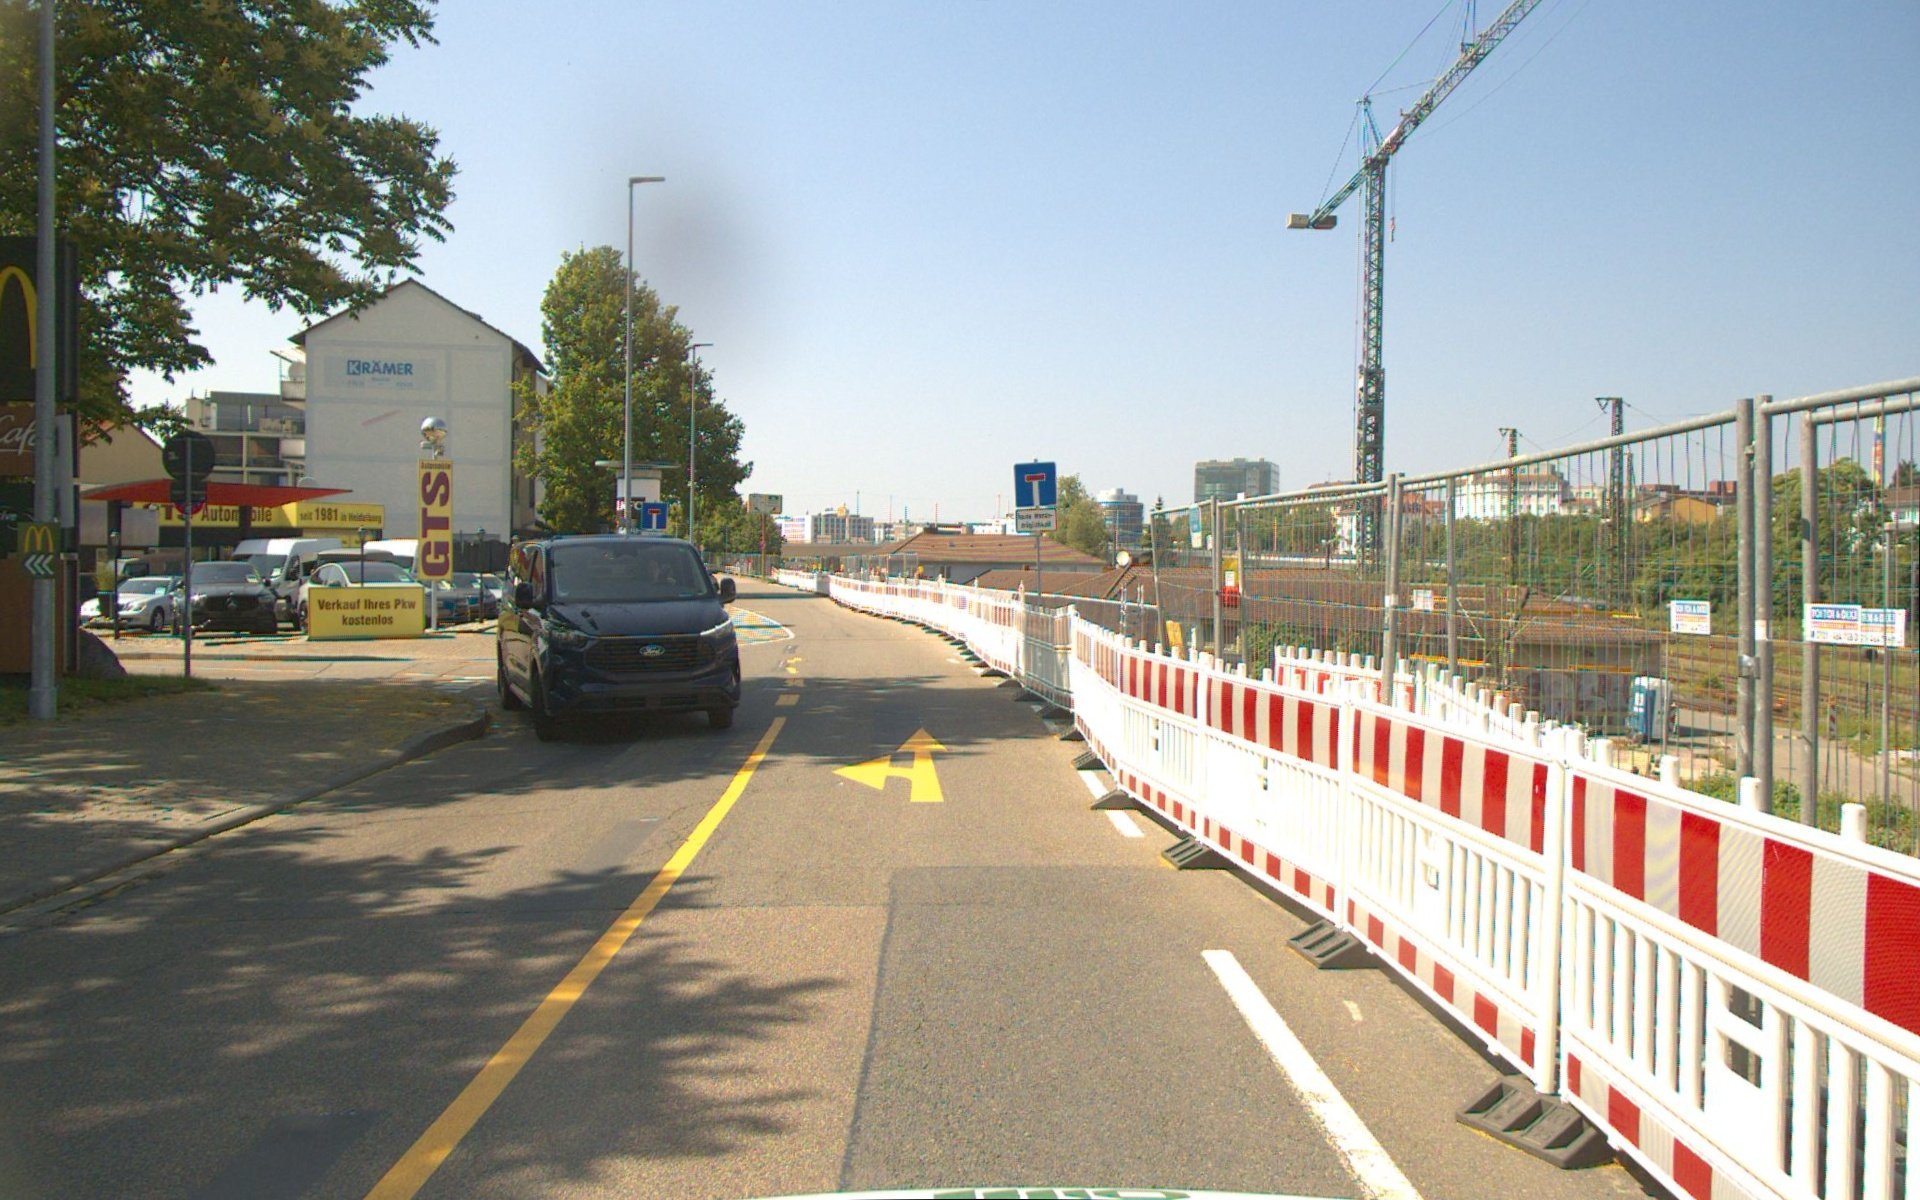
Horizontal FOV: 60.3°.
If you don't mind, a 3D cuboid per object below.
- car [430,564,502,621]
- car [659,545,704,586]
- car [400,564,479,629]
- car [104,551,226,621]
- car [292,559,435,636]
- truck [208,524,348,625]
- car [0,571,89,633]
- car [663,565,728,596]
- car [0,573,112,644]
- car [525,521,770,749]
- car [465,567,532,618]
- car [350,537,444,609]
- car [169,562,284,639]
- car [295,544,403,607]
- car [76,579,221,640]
[{"bbox_3d":[-14.987,-0.247,50.067,1.830,1.657,3.976,1,1,-21],"label":"car"},{"bbox_3d":[-18.005,-2.193,107.239,2.489,2.564,5.111,1,0,-6],"label":"car"},{"bbox_3d":[-14.085,-0.120,44.679,1.830,1.657,3.976,1,1,-21],"label":"car"},{"bbox_3d":[-24.778,-0.423,51.734,1.955,2.049,4.490,1,0,-6],"label":"car"},{"bbox_3d":[-14.396,-0.067,39.828,1.982,1.756,3.942,1,0,-40],"label":"car"},{"bbox_3d":[-21.595,-0.795,52.681,2.224,2.954,5.939,2,1,-3],"label":"truck"},{"bbox_3d":[-25.396,0.037,43.227,4.302,1.612,1.968,1,0,-44],"label":"car"},{"bbox_3d":[-14.959,-1.100,93.546,1.696,1.666,3.260,1,0,42],"label":"car"},{"bbox_3d":[-21.198,0.171,37.971,1.754,1.536,3.994,1,0,-7],"label":"car"},{"bbox_3d":[-3.566,0.235,17.972,2.141,2.002,5.423,-3,2,-15],"label":"car"},{"bbox_3d":[-15.560,-0.270,55.634,1.830,1.657,3.976,1,1,-21],"label":"car"},{"bbox_3d":[-19.144,-0.923,56.433,2.095,2.324,4.703,1,1,-8],"label":"car"},{"bbox_3d":[-16.745,0.000,37.669,2.024,1.622,4.381,1,0,-29],"label":"car"},{"bbox_3d":[-18.555,-0.730,50.426,1.841,1.768,4.718,2,1,-5],"label":"car"},{"bbox_3d":[-21.426,0.229,43.857,1.751,1.513,4.001,1,0,2],"label":"car"}]
